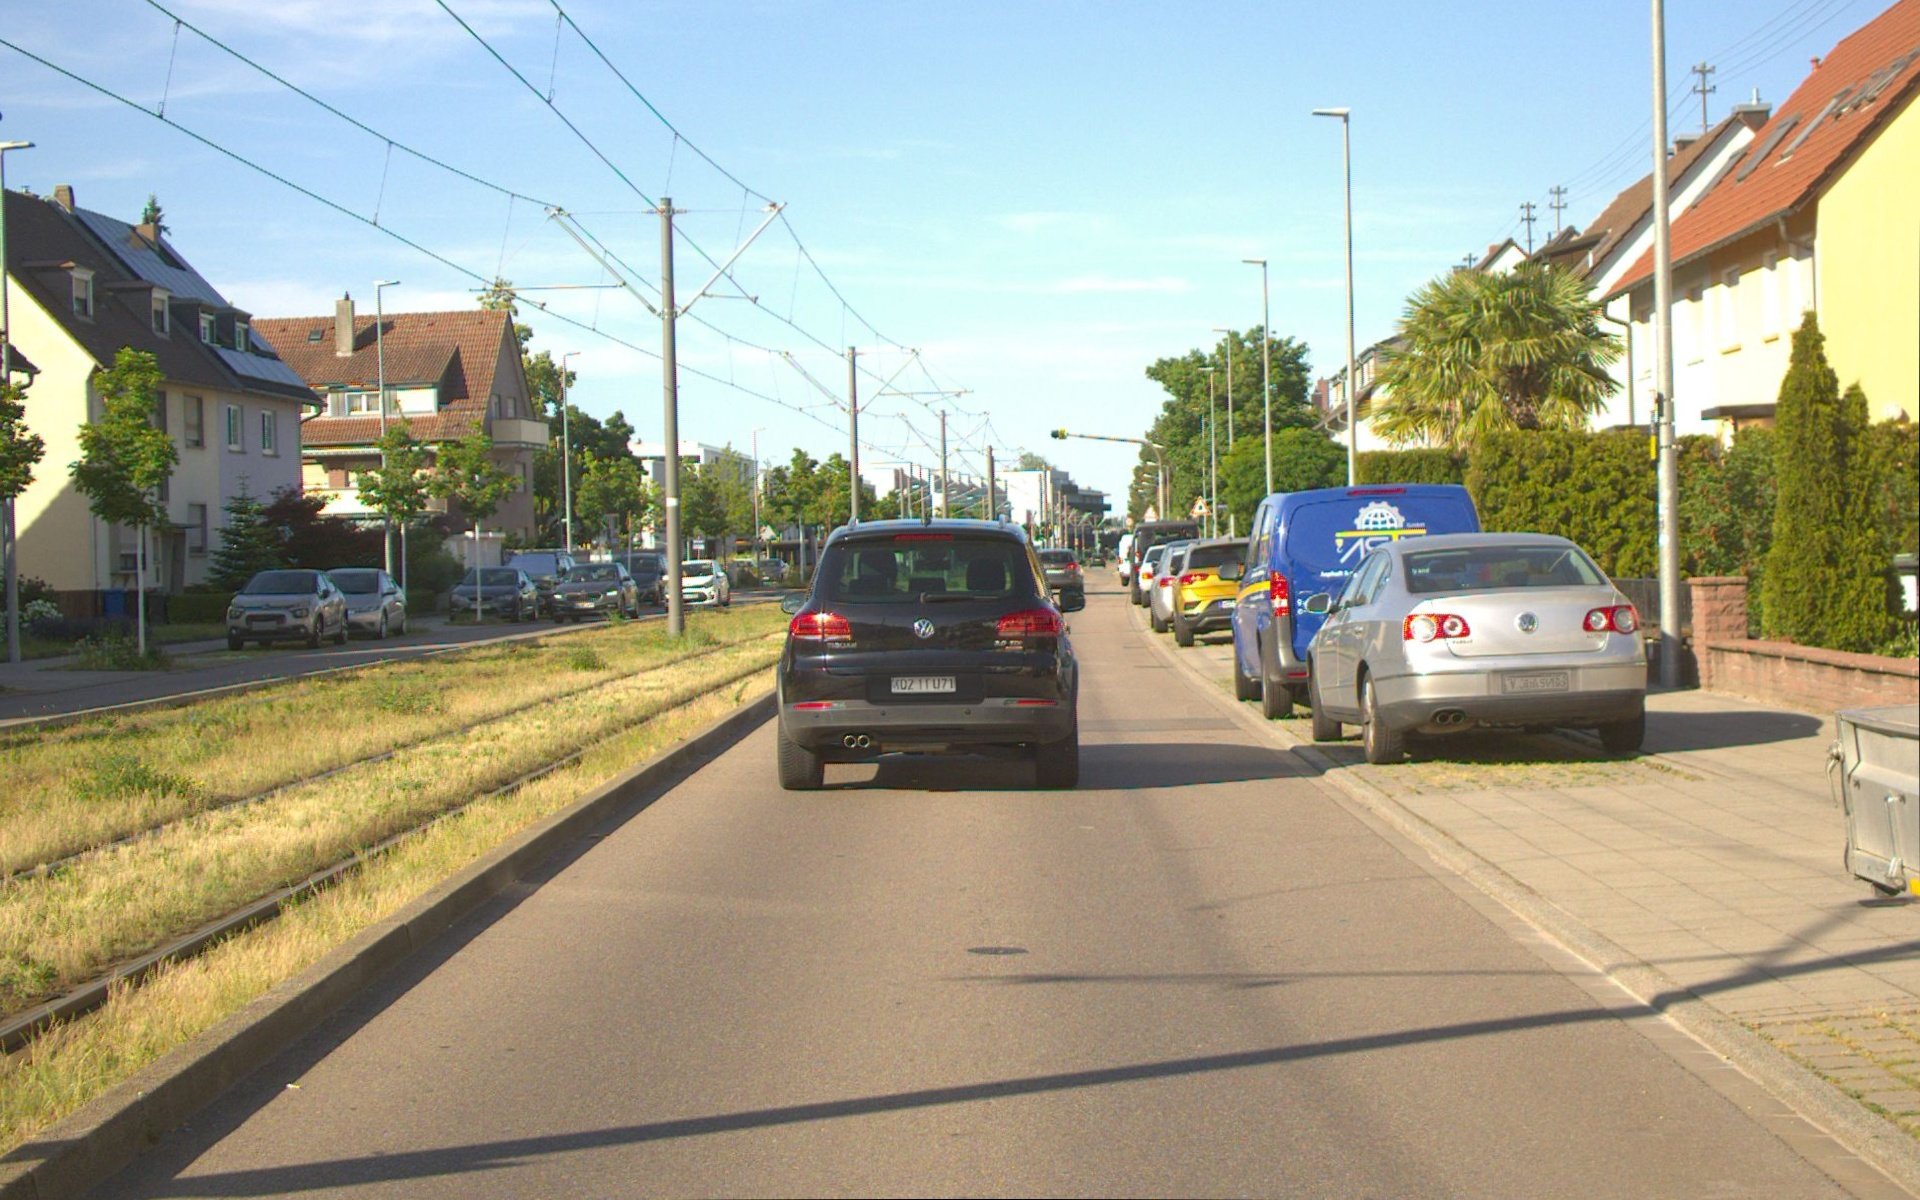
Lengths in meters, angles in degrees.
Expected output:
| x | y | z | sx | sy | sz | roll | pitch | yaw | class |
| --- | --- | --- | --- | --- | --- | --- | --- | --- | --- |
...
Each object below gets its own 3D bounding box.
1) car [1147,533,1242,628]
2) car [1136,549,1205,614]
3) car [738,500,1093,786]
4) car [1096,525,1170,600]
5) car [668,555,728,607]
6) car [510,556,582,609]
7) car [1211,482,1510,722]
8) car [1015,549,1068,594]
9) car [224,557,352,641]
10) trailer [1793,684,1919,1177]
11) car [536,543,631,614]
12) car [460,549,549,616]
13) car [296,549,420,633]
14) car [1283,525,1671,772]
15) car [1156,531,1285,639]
| x | y | z | sx | sy | sz | roll | pitch | yaw | class |
| --- | --- | --- | --- | --- | --- | --- | --- | --- | --- |
| 4.012 | -0.351 | 59.207 | 1.451 | 1.546 | 3.829 | -1 | 1 | 2 | car |
| 4.961 | -0.456 | 81.390 | 1.442 | 1.472 | 3.864 | -2 | 1 | 2 | car |
| -0.393 | 0.245 | 22.229 | 1.811 | 1.665 | 4.258 | 0 | 0 | -7 | car |
| 4.429 | -0.969 | 88.550 | 1.770 | 1.838 | 3.864 | -1 | 1 | 2 | car |
| -7.681 | -0.547 | 101.098 | 1.465 | 1.449 | 3.287 | -2 | 0 | 0 | car |
| -11.221 | -0.491 | 93.366 | 1.515 | 1.357 | 3.590 | -2 | 1 | -1 | car |
| 3.365 | -0.017 | 29.824 | 1.993 | 1.855 | 4.917 | -2 | 1 | 0 | car |
| 2.615 | -0.935 | 111.136 | 1.572 | 1.386 | 3.614 | -2 | 1 | 0 | car |
| -12.738 | -0.041 | 65.296 | 1.659 | 1.491 | 3.579 | -2 | 1 | 1 | car |
| 3.307 | 0.749 | 6.702 | 2.204 | 1.090 | 4.372 | -3 | 1 | -1 | trailer |
| -9.353 | -0.518 | 85.619 | 1.873 | 1.649 | 4.000 | -2 | -1 | 0 | car |
| -11.567 | -0.433 | 87.475 | 1.660 | 1.576 | 4.000 | -2 | -1 | 1 | car |
| -12.480 | -0.206 | 71.451 | 1.803 | 1.626 | 4.000 | -2 | 1 | 1 | car |
| 3.406 | 0.267 | 23.453 | 1.786 | 1.436 | 4.460 | -3 | 1 | -2 | car |
| 3.899 | -0.232 | 51.883 | 1.645 | 1.529 | 3.864 | -1 | 1 | 0 | car |
